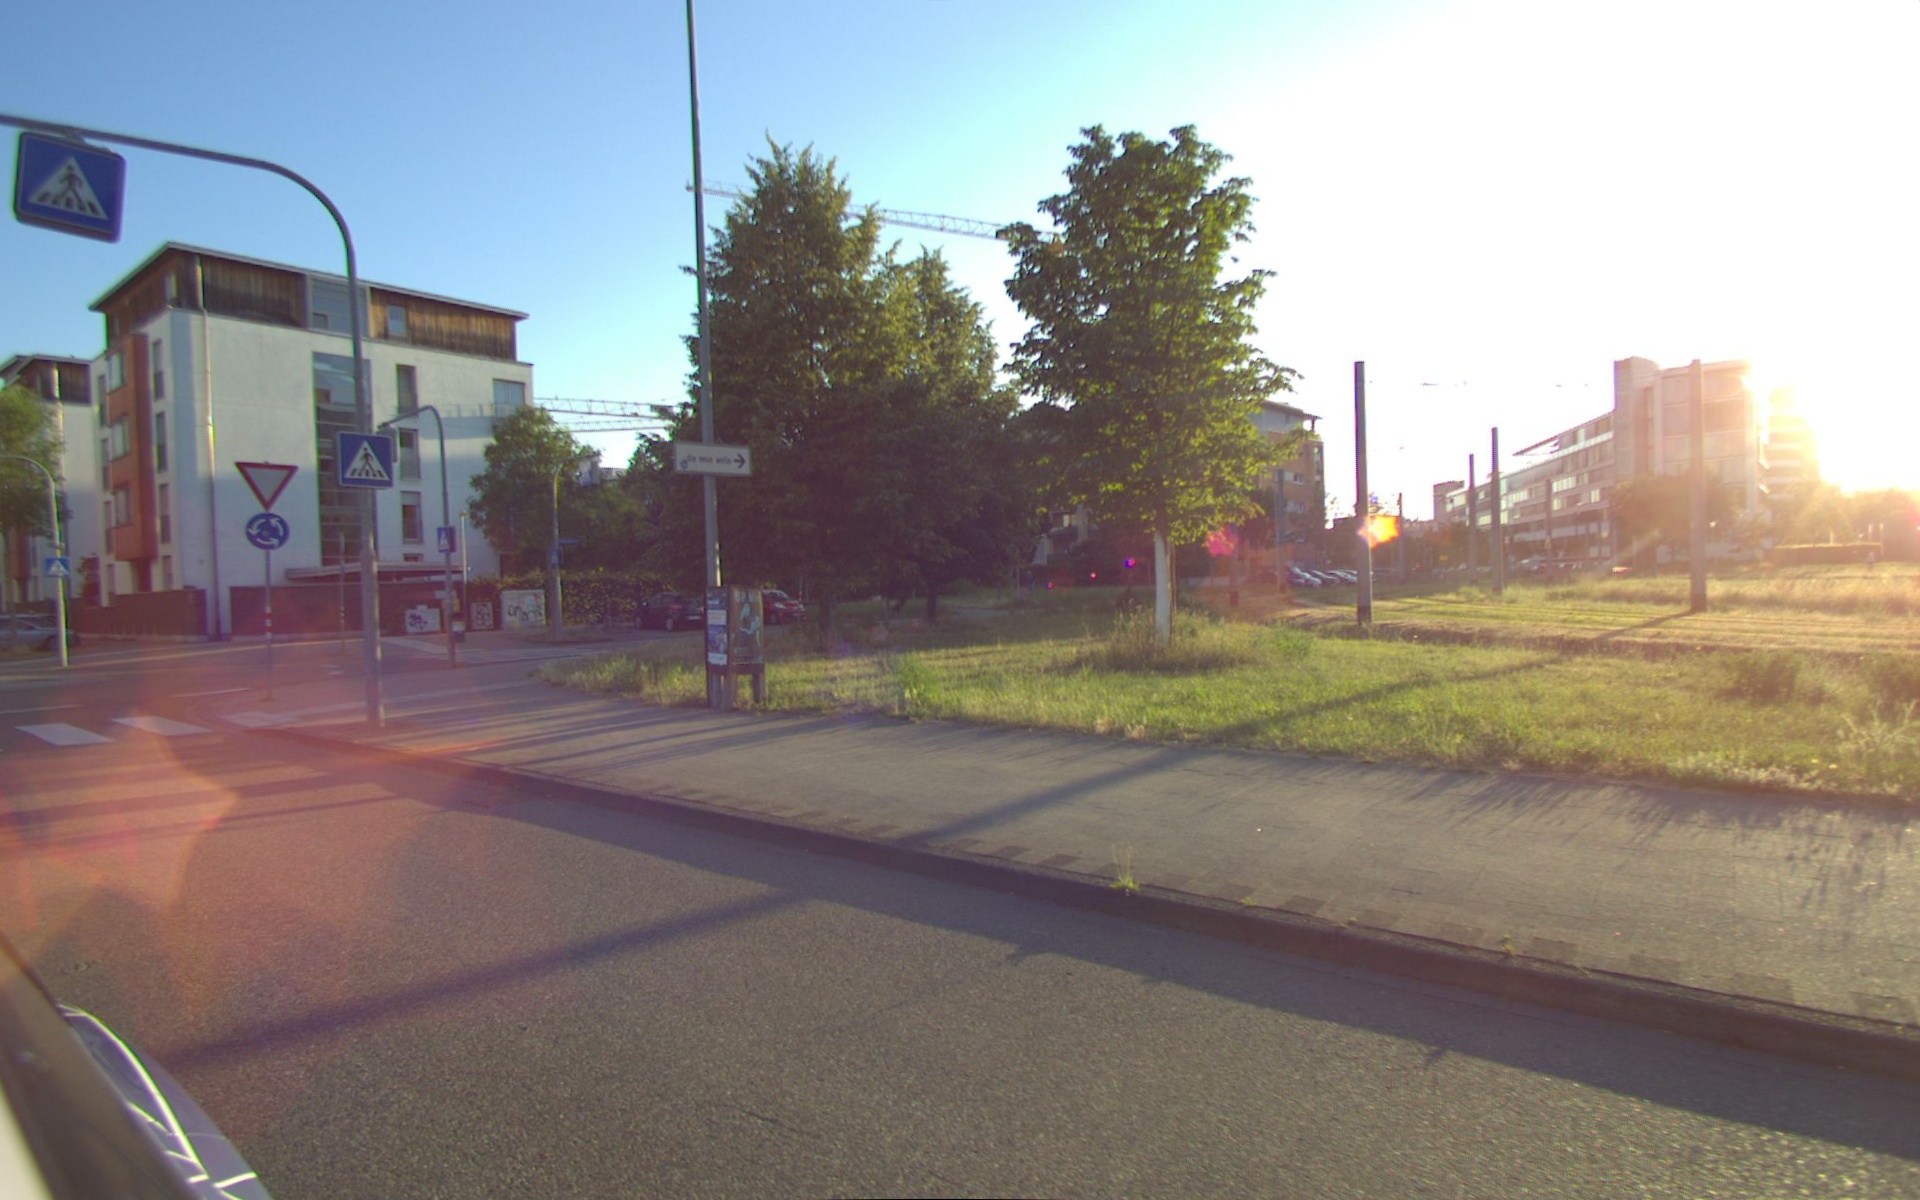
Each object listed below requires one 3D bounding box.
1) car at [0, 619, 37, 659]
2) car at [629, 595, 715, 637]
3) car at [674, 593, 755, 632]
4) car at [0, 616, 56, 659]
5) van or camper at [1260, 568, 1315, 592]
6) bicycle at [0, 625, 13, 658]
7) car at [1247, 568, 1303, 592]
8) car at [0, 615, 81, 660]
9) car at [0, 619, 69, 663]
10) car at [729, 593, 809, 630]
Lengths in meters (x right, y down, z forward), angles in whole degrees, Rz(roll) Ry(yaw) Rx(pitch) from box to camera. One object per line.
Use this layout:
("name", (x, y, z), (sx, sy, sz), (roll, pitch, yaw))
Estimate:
("car", (-41.310, 1.758, 41.534), (1.754, 1.596, 4.708), (-3, 2, 34))
("car", (-11.527, 0.638, 40.432), (3.409, 1.533, 1.668), (-1, 1, 41))
("car", (-10.206, 0.535, 42.013), (3.409, 1.511, 1.573), (-1, 1, 41))
("car", (-39.109, 1.605, 40.090), (1.710, 1.566, 4.723), (-2, 2, 42))
("van or camper", (26.942, -1.637, 83.284), (3.875, 1.707, 1.811), (-3, 0, 39))
("bicycle", (-33.414, 1.496, 34.264), (0.566, 1.074, 1.801), (-3, 3, 36))
("car", (25.210, -1.586, 81.011), (3.871, 1.707, 1.682), (-3, 0, 36))
("car", (-34.996, 1.453, 36.808), (1.677, 1.468, 4.243), (-3, 2, 36))
("car", (-37.125, 1.682, 38.265), (1.707, 1.489, 4.860), (-3, 2, 36))
("car", (-8.254, 0.492, 43.600), (3.409, 1.511, 1.573), (-1, 1, 41))
